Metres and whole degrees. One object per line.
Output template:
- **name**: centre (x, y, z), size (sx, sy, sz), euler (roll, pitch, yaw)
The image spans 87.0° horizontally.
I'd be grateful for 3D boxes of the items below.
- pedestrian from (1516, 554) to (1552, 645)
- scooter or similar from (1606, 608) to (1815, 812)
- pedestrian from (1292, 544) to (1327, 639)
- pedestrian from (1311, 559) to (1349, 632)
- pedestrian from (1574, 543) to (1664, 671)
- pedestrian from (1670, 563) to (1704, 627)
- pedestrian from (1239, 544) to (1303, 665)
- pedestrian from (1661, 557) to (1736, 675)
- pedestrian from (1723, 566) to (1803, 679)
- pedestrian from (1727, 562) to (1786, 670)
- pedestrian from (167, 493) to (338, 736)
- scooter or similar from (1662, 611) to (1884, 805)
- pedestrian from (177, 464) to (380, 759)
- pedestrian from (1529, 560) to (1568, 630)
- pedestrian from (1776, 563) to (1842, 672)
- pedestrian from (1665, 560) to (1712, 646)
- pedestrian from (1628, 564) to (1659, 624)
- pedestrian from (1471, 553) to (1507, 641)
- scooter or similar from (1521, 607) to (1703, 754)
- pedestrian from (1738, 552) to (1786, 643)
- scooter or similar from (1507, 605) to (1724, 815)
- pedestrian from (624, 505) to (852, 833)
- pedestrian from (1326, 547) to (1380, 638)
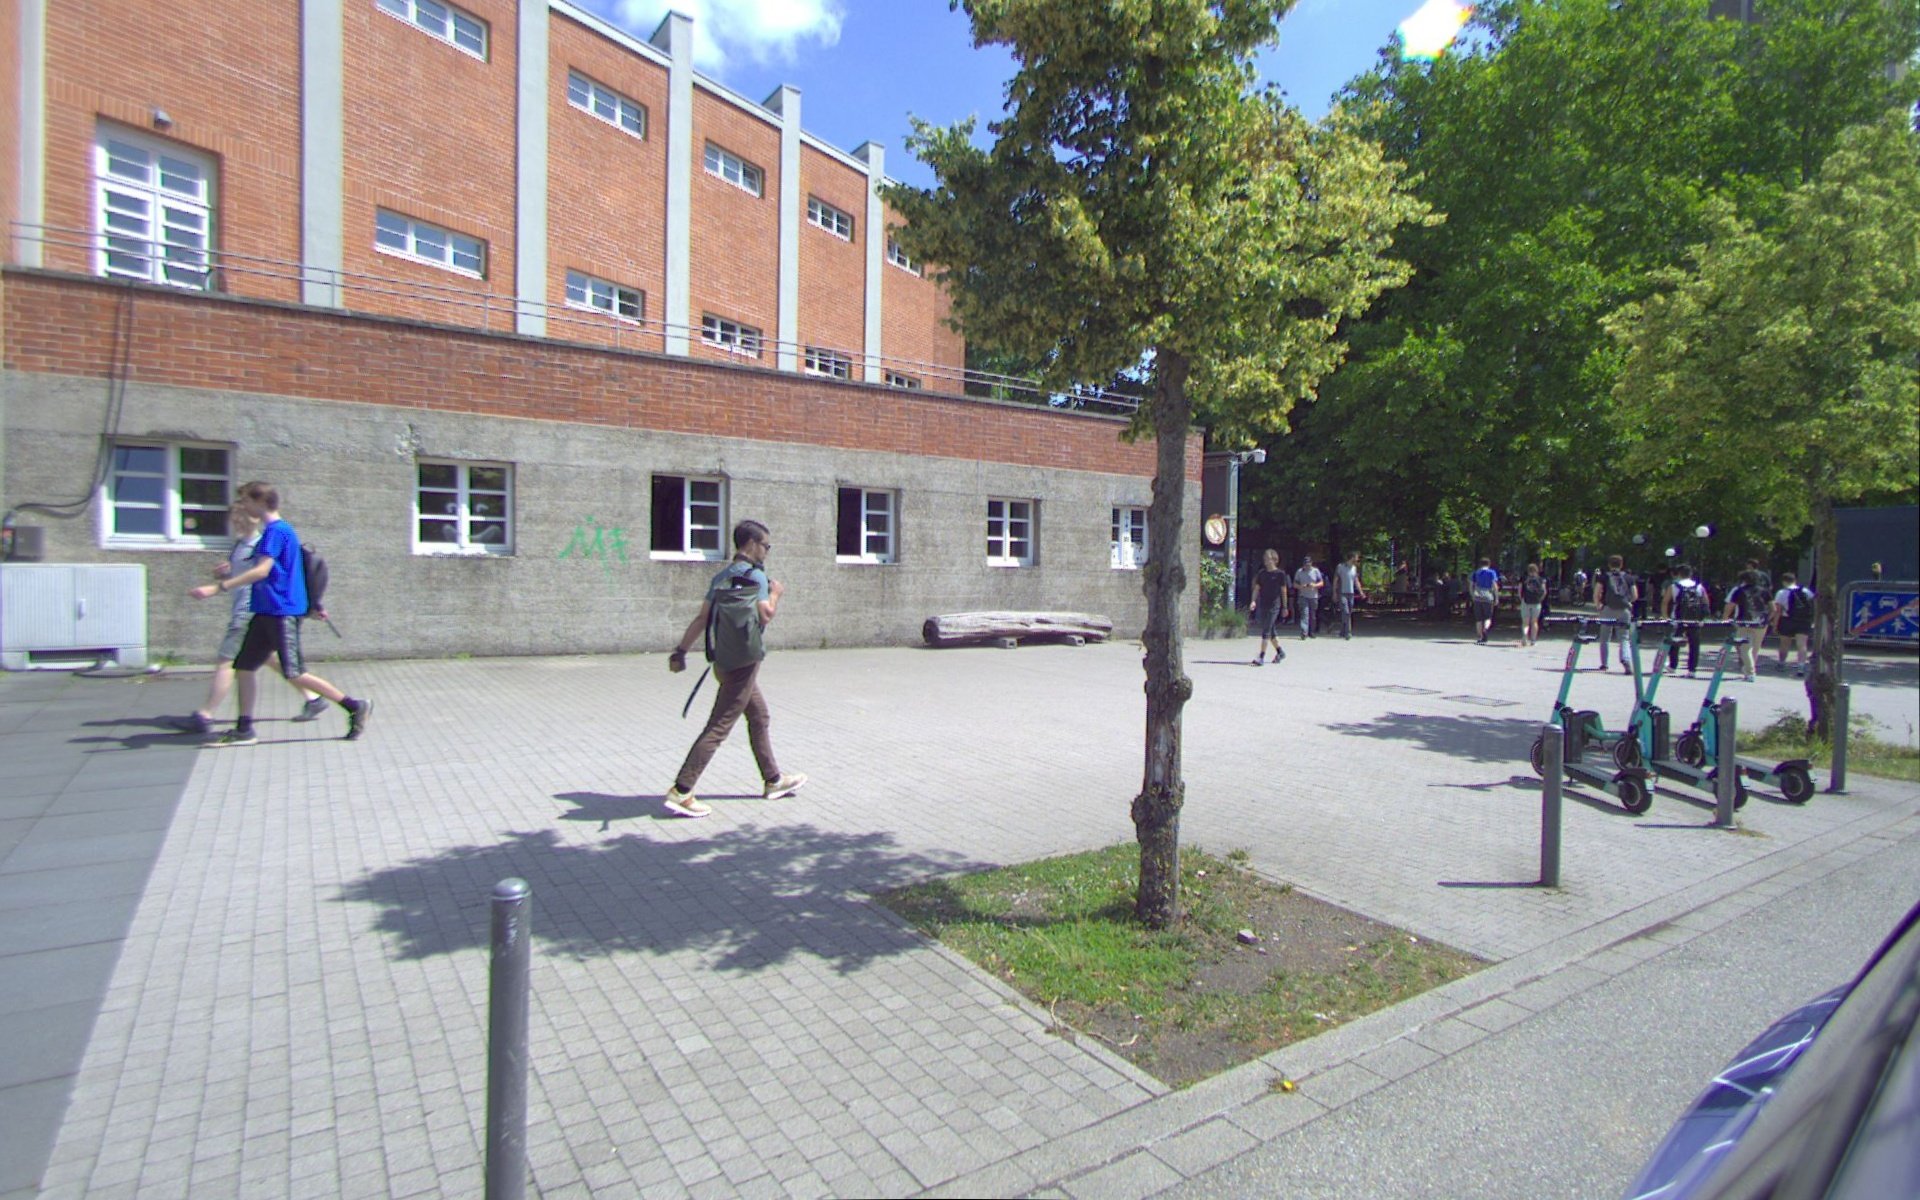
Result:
- **pedestrian**: centre (11.793, -0.019, 20.777), size (0.538, 1.816, 0.637), euler (2, 2, 34)
- **scooter or similar**: centre (5.234, 0.719, 7.140), size (0.565, 1.259, 1.144), euler (2, 2, 0)
- **pedestrian**: centre (7.405, -0.169, 21.463), size (0.557, 1.954, 0.887), euler (1, -2, 11)
- **pedestrian**: centre (8.758, -0.093, 23.950), size (0.555, 1.677, 0.780), euler (1, -2, -4)
- **pedestrian**: centre (10.599, 0.093, 16.315), size (0.971, 1.970, 0.971), euler (2, 1, 22)
- **pedestrian**: centre (19.313, -0.145, 26.873), size (0.637, 1.659, 0.555), euler (3, 2, 41)
- **pedestrian**: centre (4.792, 0.047, 15.585), size (0.785, 1.799, 0.586), euler (-1, 3, -40)
- **pedestrian**: centre (11.745, 0.228, 16.124), size (0.774, 1.813, 0.709), euler (2, 1, 26)
- **pedestrian**: centre (12.531, 0.332, 15.821), size (0.743, 1.694, 0.839), euler (2, 2, 26)
- **pedestrian**: centre (13.595, 0.255, 17.291), size (0.597, 1.774, 0.757), euler (2, 1, 27)
- **pedestrian**: centre (-5.400, 0.081, 7.740), size (0.985, 1.727, 0.585), euler (-2, 3, -43)
- **scooter or similar**: centre (5.950, 0.741, 7.494), size (0.565, 1.248, 1.265), euler (2, 2, 0)
- **pedestrian**: centre (-4.805, 0.051, 7.156), size (1.091, 1.913, 0.665), euler (-1, 3, -42)
- **pedestrian**: centre (15.352, -0.126, 26.388), size (0.785, 1.788, 0.667), euler (1, 0, -44)
- **pedestrian**: centre (14.198, 0.268, 16.946), size (0.616, 1.760, 0.768), euler (2, 1, 26)
- **pedestrian**: centre (15.076, 0.053, 20.954), size (0.634, 1.728, 0.708), euler (2, 2, 28)
- **pedestrian**: centre (18.480, -0.169, 27.377), size (0.635, 1.576, 0.568), euler (2, 2, 35)
- **pedestrian**: centre (11.104, -0.069, 21.242), size (0.561, 1.816, 0.637), euler (2, 2, 32)
- **scooter or similar**: centre (5.769, 0.686, 8.955), size (1.447, 1.194, 0.577), euler (1, 1, -21)
- **pedestrian**: centre (17.039, -0.072, 21.517), size (0.634, 1.893, 0.532), euler (2, 1, 28)
- **scooter or similar**: centre (4.460, 0.691, 7.001), size (0.565, 1.245, 1.357), euler (2, 2, 0)
- **pedestrian**: centre (-1.285, 0.331, 5.853), size (1.059, 1.696, 0.785), euler (-1, 3, -37)
- **pedestrian**: centre (8.441, -0.152, 21.745), size (0.655, 1.911, 0.974), euler (1, -2, -10)
